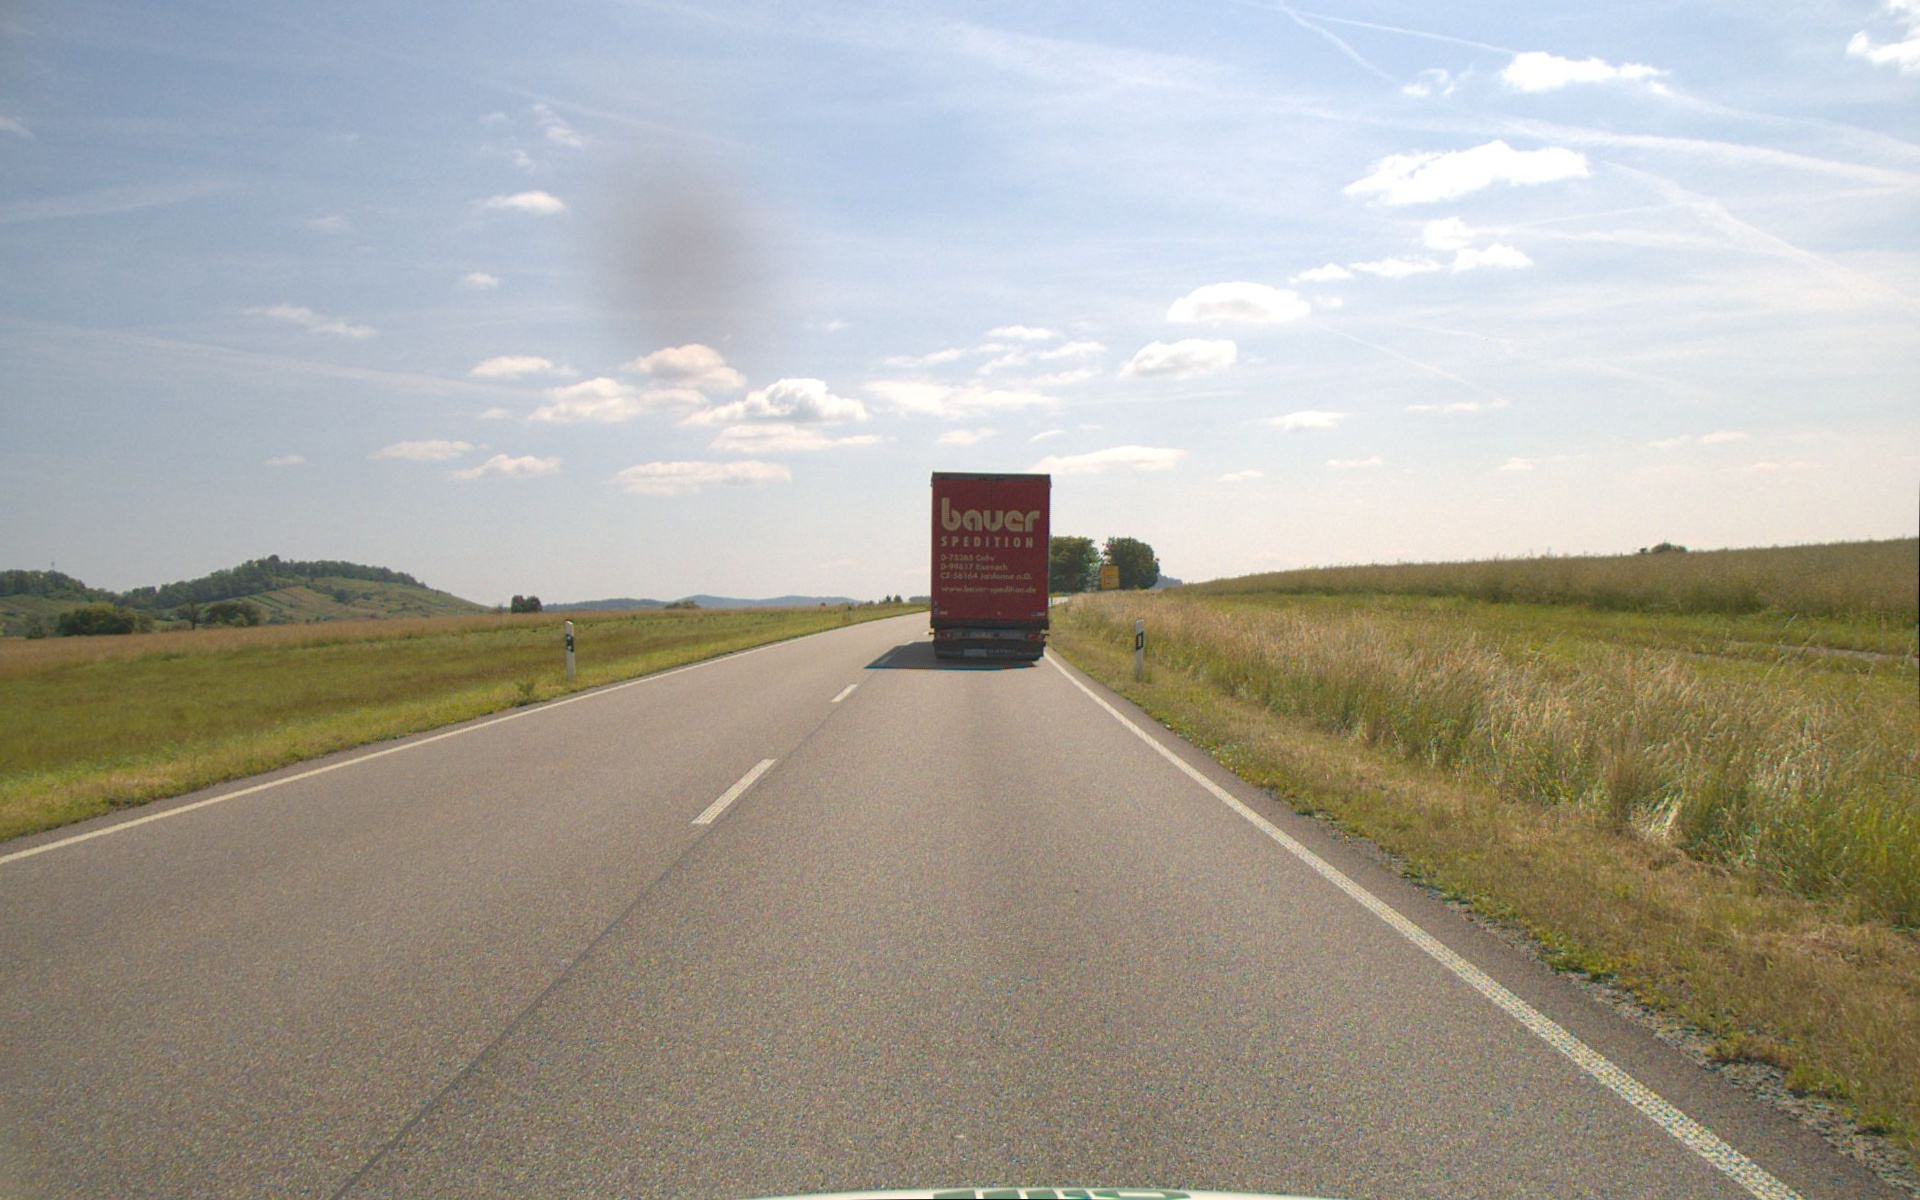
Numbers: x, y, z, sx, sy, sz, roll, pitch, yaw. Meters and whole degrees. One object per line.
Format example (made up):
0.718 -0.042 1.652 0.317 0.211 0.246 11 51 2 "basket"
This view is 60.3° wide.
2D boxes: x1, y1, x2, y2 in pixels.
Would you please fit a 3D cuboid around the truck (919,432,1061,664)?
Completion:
0.755 -1.125 38.915 2.913 4.795 9.368 0 0 2 "truck"
